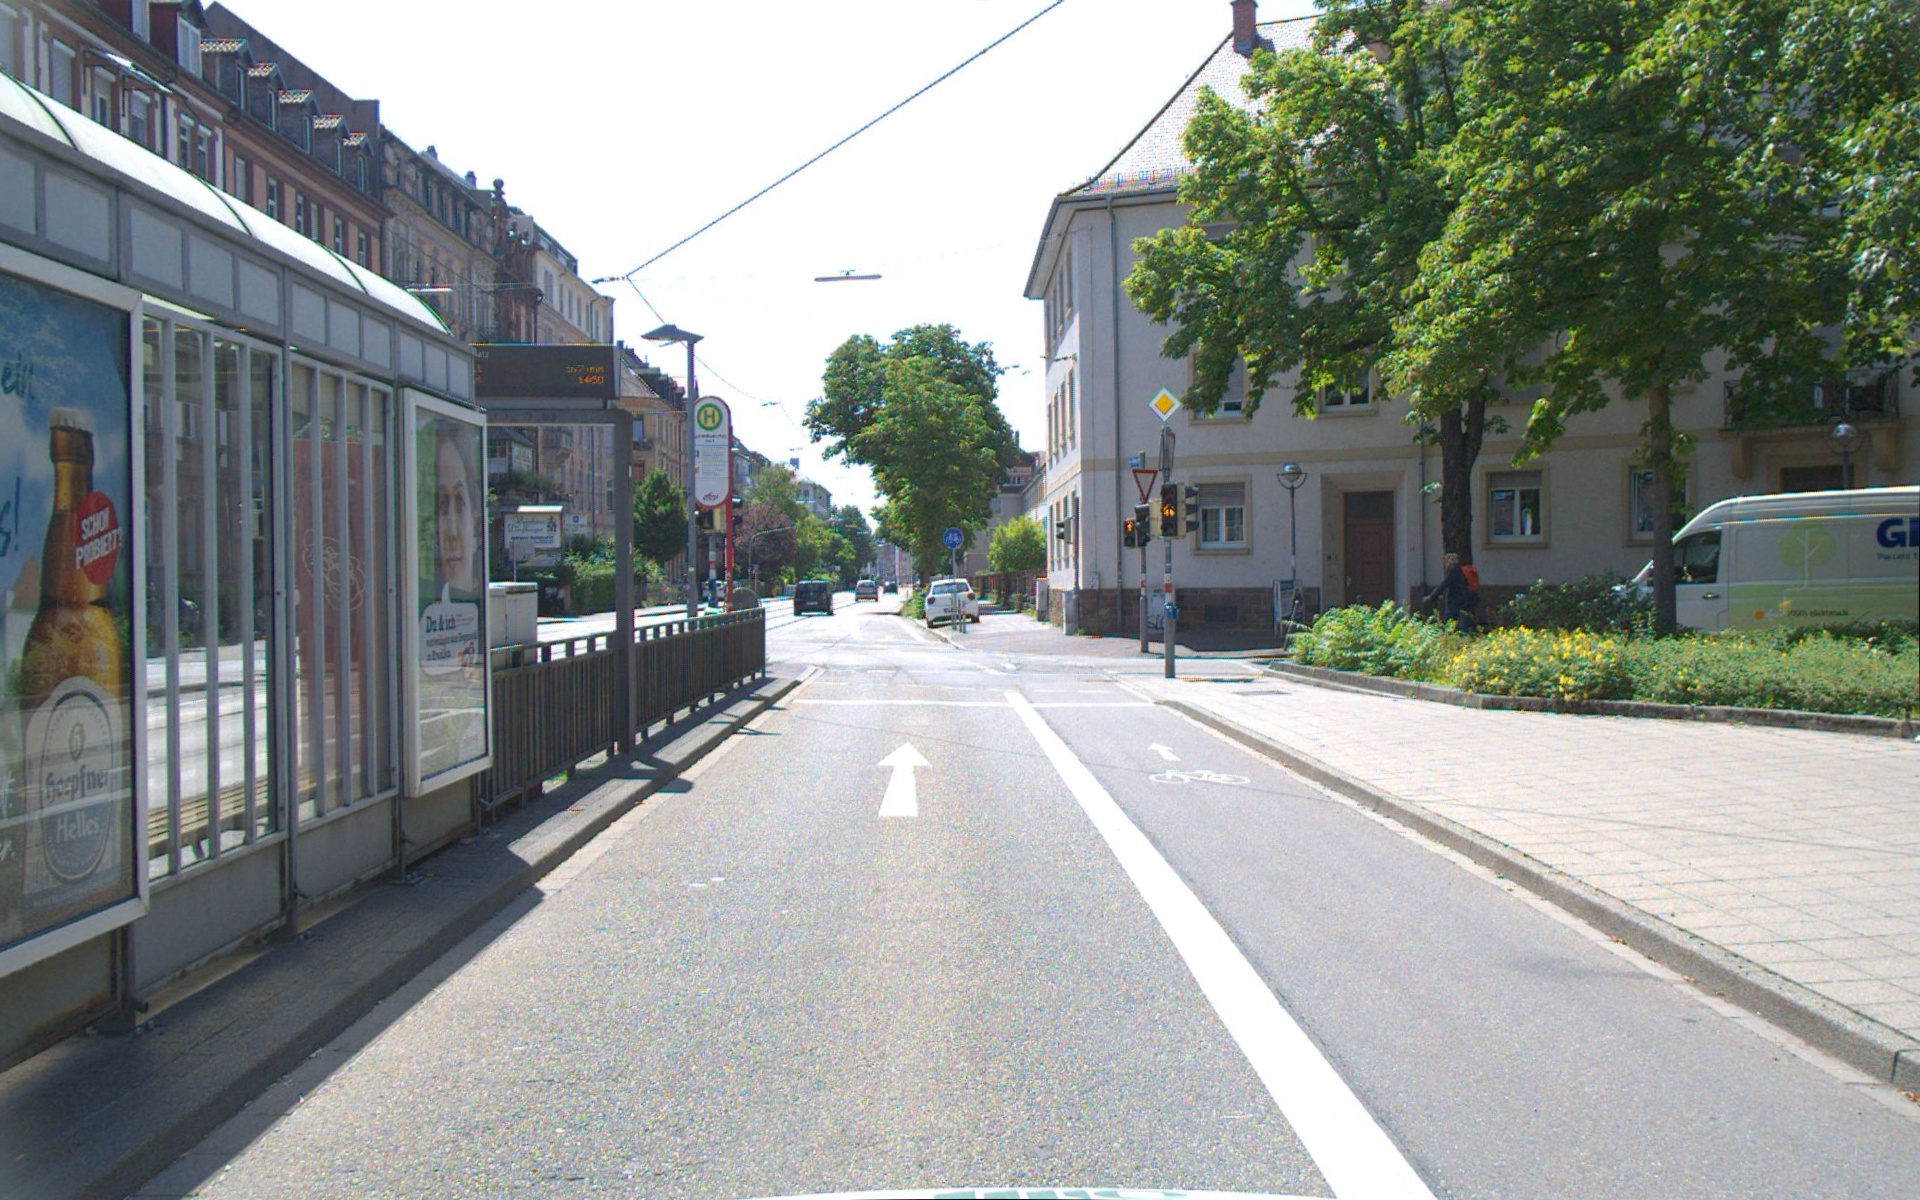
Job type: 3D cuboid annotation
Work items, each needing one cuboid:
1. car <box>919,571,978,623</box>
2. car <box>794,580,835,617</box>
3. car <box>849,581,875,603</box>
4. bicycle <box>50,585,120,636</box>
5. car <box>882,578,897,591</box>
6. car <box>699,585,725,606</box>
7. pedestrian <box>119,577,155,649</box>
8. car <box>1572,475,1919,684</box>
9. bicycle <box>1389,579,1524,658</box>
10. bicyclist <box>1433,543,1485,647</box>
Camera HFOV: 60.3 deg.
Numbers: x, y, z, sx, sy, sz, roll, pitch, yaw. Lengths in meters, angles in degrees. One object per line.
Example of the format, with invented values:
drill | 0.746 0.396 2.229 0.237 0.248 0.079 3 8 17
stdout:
car | -0.415 -0.107 53.763 1.712 1.498 3.937 -4 1 -2
car | -6.258 -0.078 71.352 1.494 1.469 3.364 -2 1 -1
car | -7.059 -0.593 119.277 1.712 1.498 3.937 -1 1 -2
bicycle | -21.110 0.237 39.917 0.357 1.189 1.514 1 2 34
car | -8.668 -1.888 202.493 1.597 1.498 3.561 -4 1 -4
car | -19.718 -0.377 131.498 1.651 1.498 3.935 -4 1 -4
pedestrian | -19.186 0.285 38.568 0.649 1.643 0.462 -1 3 -44
car | 11.664 -0.277 22.921 1.982 2.635 5.763 -1 0 -41
bicycle | 8.133 0.293 27.144 2.043 1.258 0.579 0 0 32
bicyclist | 8.182 -0.083 27.119 0.681 1.675 0.579 0 0 32
